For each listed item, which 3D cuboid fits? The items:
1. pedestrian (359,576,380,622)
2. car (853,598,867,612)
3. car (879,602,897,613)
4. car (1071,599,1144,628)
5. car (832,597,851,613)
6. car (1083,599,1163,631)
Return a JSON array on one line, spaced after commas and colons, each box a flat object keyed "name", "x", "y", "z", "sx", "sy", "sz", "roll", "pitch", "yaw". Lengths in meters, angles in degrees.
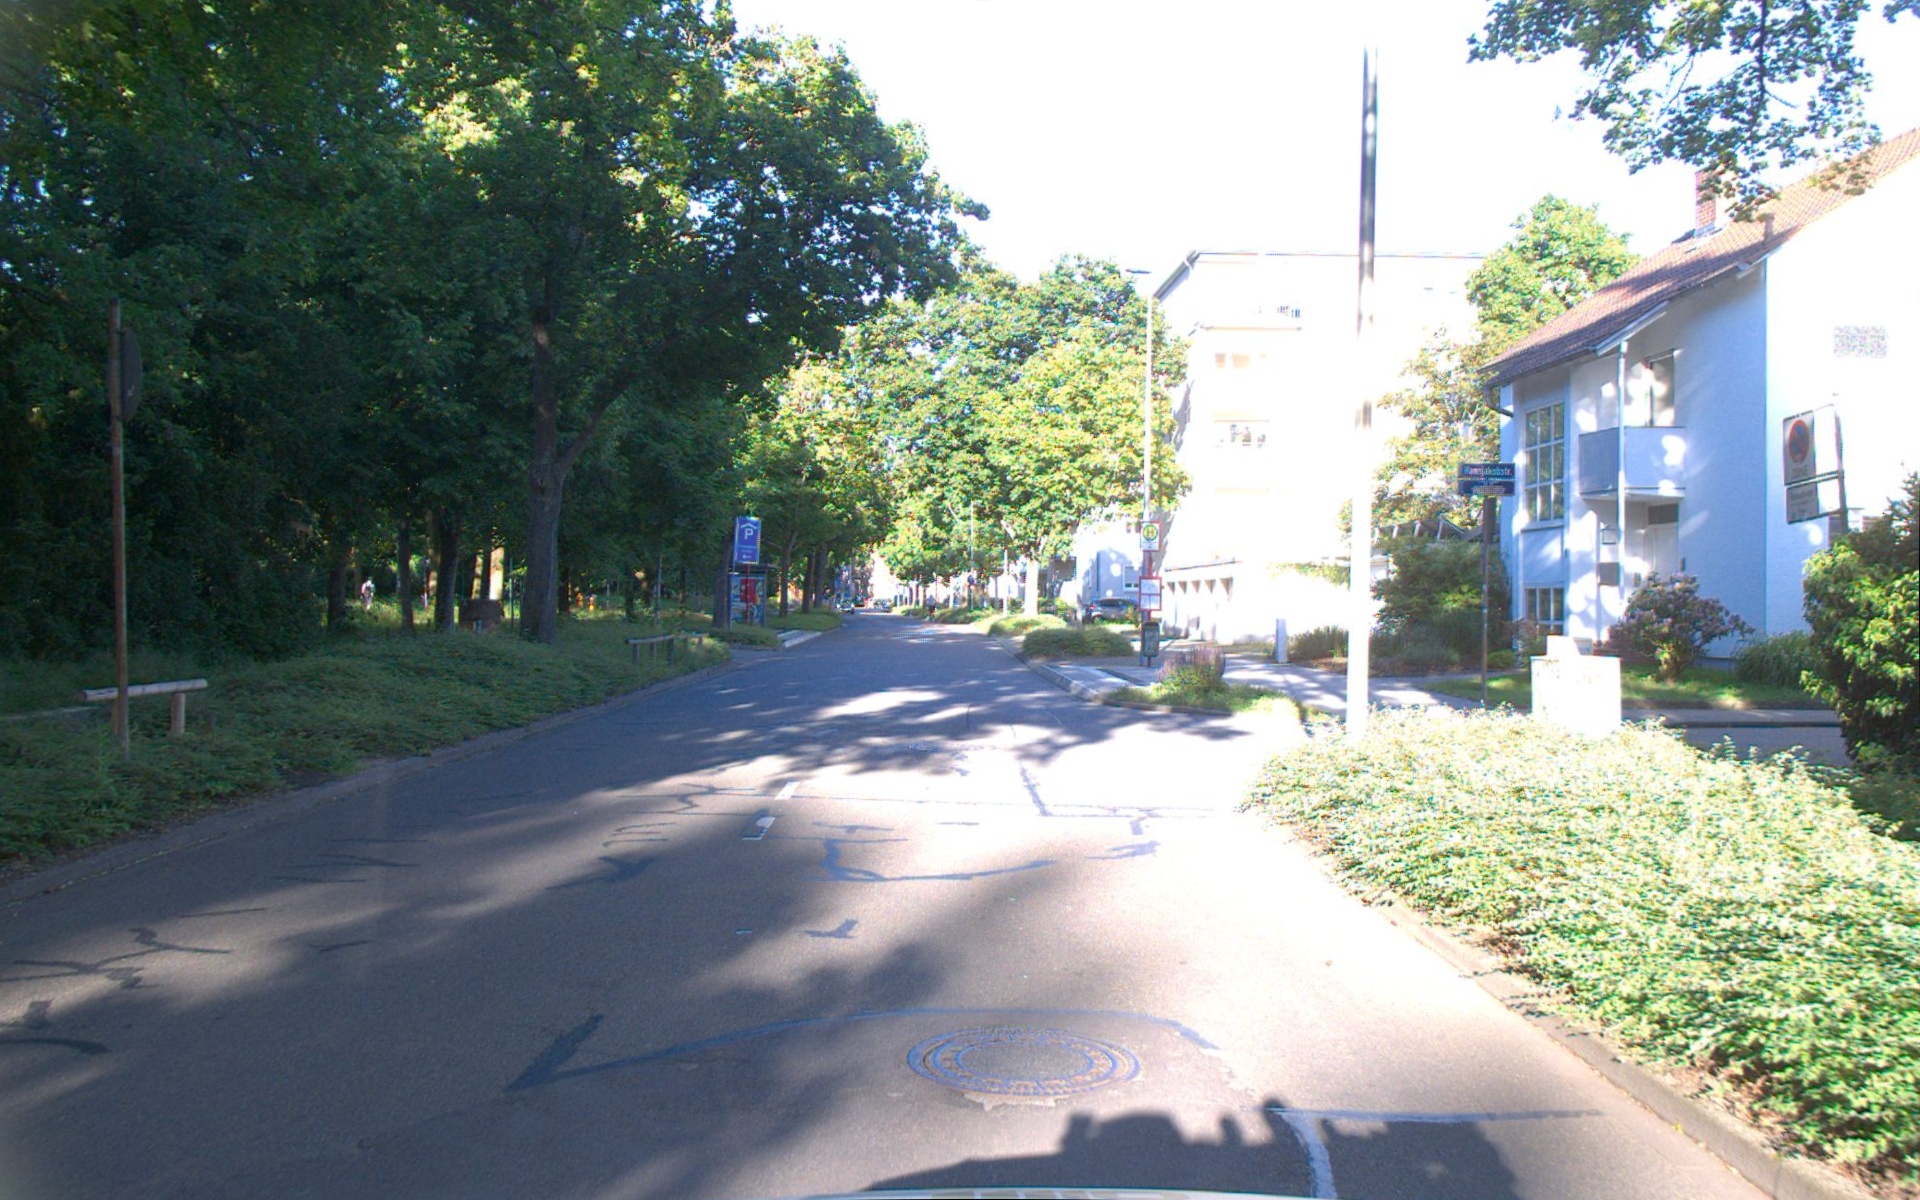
[{"name": "pedestrian", "x": -26.750, "y": -0.051, "z": 74.935, "sx": 0.742, "sy": 2.049, "sz": 0.589, "roll": 2, "pitch": -1, "yaw": -6}, {"name": "car", "x": -15.550, "y": 0.765, "z": 256.622, "sx": 1.778, "sy": 1.959, "sz": 3.992, "roll": 2, "pitch": 0, "yaw": -9}, {"name": "car", "x": -9.933, "y": 1.003, "z": 228.409, "sx": 1.780, "sy": 1.527, "sz": 3.987, "roll": 0, "pitch": 0, "yaw": -12}, {"name": "car", "x": 8.508, "y": 0.763, "z": 95.524, "sx": 3.910, "sy": 1.609, "sz": 1.808, "roll": 1, "pitch": 1, "yaw": -6}, {"name": "car", "x": -12.065, "y": 0.497, "z": 168.363, "sx": 1.808, "sy": 1.606, "sz": 4.332, "roll": -1, "pitch": 0, "yaw": -4}, {"name": "car", "x": 8.639, "y": 0.803, "z": 87.754, "sx": 3.961, "sy": 1.541, "sz": 1.725, "roll": 1, "pitch": -2, "yaw": -5}]
